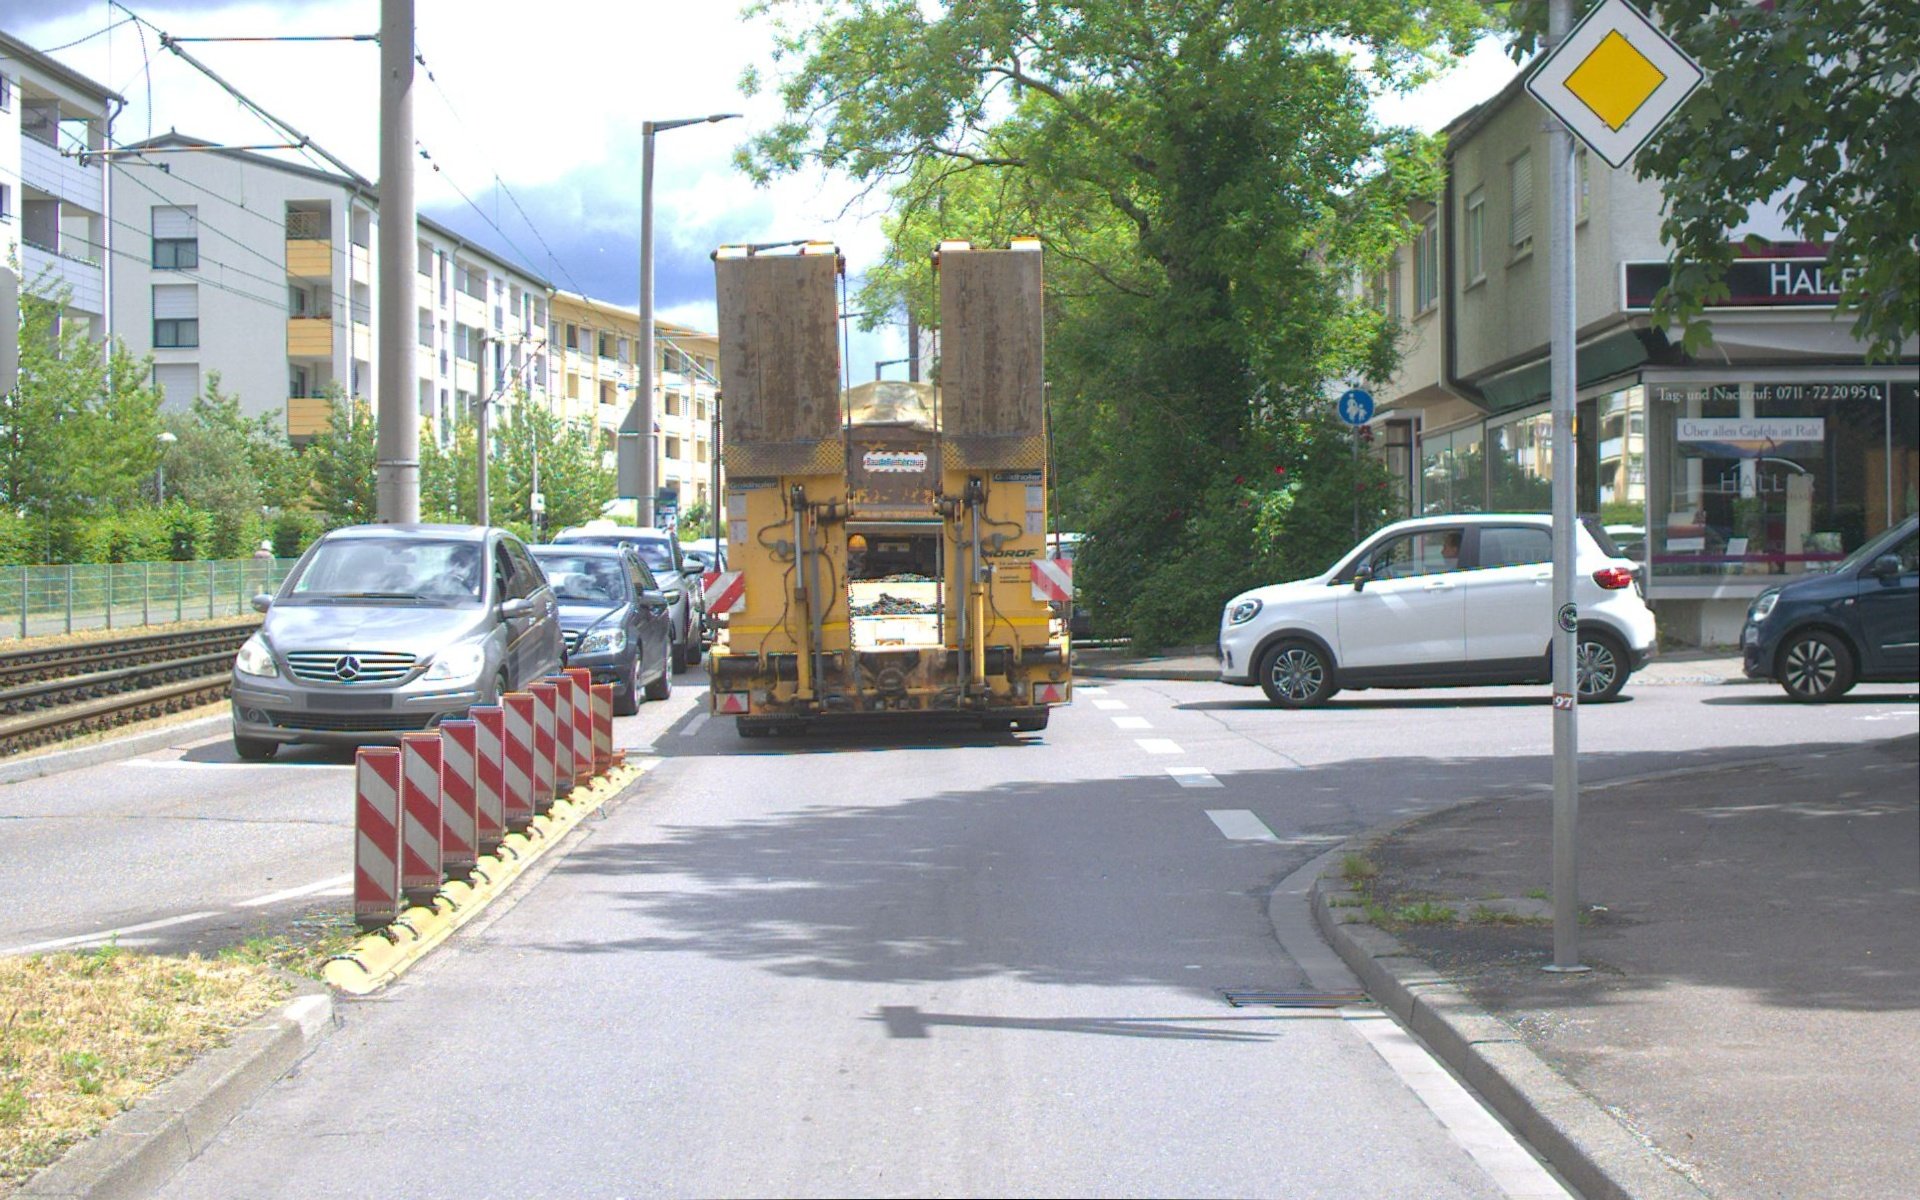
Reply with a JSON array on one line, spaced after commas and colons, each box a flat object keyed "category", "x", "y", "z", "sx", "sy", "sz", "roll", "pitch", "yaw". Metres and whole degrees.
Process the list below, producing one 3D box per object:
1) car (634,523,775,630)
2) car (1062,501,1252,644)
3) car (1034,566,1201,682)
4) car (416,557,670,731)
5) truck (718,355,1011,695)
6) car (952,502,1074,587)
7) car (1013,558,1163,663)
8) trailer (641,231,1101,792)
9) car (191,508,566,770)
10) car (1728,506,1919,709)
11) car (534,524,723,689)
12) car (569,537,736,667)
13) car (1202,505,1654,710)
[{"category": "car", "x": -3.999, "y": -0.405, "z": 54.334, "sx": 1.993, "sy": 1.515, "sz": 3.891, "roll": -2, "pitch": 2, "yaw": -1}, {"category": "car", "x": 2.392, "y": -0.382, "z": 42.749, "sx": 1.993, "sy": 1.612, "sz": 4.001, "roll": -2, "pitch": 2, "yaw": -1}, {"category": "car", "x": 2.140, "y": 0.297, "z": 47.785, "sx": 1.993, "sy": 1.382, "sz": 4.001, "roll": -2, "pitch": 2, "yaw": -1}, {"category": "car", "x": -3.575, "y": 0.343, "z": 30.062, "sx": 1.602, "sy": 1.376, "sz": 3.956, "roll": -2, "pitch": 0, "yaw": 2}, {"category": "truck", "x": -1.191, "y": -0.889, "z": 38.439, "sx": 2.833, "sy": 3.318, "sz": 7.986, "roll": -2, "pitch": 2, "yaw": -3}, {"category": "car", "x": 0.910, "y": -1.018, "z": 61.558, "sx": 1.993, "sy": 1.382, "sz": 4.001, "roll": -2, "pitch": 2, "yaw": -1}, {"category": "car", "x": 1.906, "y": 0.132, "z": 52.340, "sx": 1.993, "sy": 1.382, "sz": 4.001, "roll": -2, "pitch": 2, "yaw": -1}, {"category": "trailer", "x": -0.947, "y": -0.805, "z": 29.440, "sx": 3.050, "sy": 3.759, "sz": 11.615, "roll": -2, "pitch": 2, "yaw": -3}, {"category": "car", "x": -3.995, "y": 0.240, "z": 24.282, "sx": 1.802, "sy": 1.646, "sz": 4.131, "roll": -2, "pitch": 0, "yaw": 2}, {"category": "car", "x": 8.091, "y": 0.017, "z": 27.361, "sx": 3.700, "sy": 1.517, "sz": 1.999, "roll": -1, "pitch": 2, "yaw": 17}, {"category": "car", "x": -3.692, "y": 0.053, "z": 38.828, "sx": 1.602, "sy": 1.726, "sz": 3.938, "roll": -2, "pitch": 0, "yaw": 2}, {"category": "car", "x": -4.160, "y": -0.013, "z": 47.069, "sx": 1.993, "sy": 1.588, "sz": 3.891, "roll": -2, "pitch": 2, "yaw": -1}, {"category": "car", "x": 3.959, "y": 0.059, "z": 28.835, "sx": 3.600, "sy": 1.579, "sz": 1.999, "roll": -1, "pitch": 1, "yaw": 11}]
